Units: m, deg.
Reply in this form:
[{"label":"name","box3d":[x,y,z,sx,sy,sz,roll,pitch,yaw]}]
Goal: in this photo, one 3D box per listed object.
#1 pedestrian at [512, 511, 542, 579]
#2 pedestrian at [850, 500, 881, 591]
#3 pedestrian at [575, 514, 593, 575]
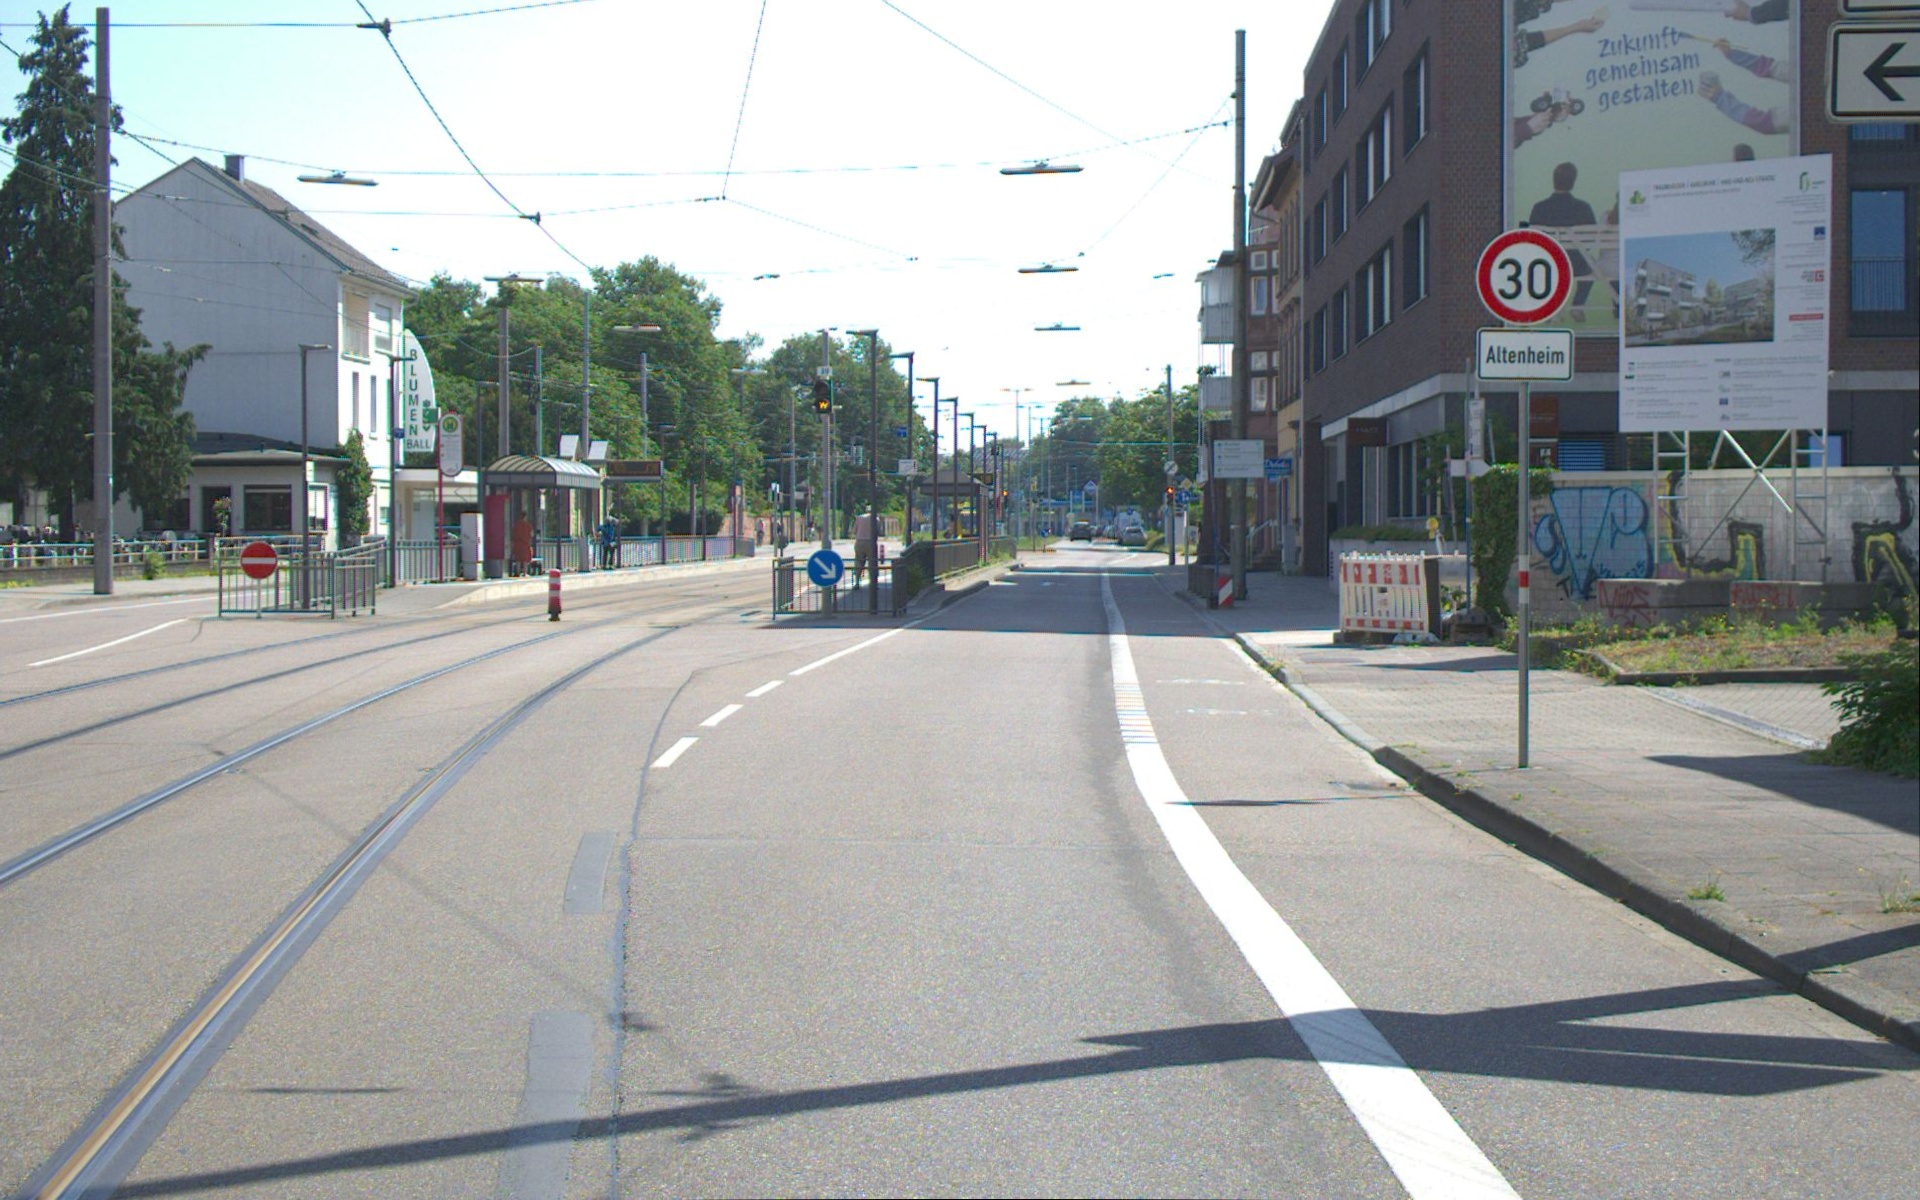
[{"label":"pedestrian","box3d":[-10.648,-1.351,84.497,0.705,1.684,0.416,0,1,-5]},{"label":"pedestrian","box3d":[-1.847,-1.067,67.201,0.556,1.754,0.793,-1,1,-3]},{"label":"pedestrian","box3d":[-10.428,-1.546,95.344,0.415,1.684,0.708,0,1,-11]}]
